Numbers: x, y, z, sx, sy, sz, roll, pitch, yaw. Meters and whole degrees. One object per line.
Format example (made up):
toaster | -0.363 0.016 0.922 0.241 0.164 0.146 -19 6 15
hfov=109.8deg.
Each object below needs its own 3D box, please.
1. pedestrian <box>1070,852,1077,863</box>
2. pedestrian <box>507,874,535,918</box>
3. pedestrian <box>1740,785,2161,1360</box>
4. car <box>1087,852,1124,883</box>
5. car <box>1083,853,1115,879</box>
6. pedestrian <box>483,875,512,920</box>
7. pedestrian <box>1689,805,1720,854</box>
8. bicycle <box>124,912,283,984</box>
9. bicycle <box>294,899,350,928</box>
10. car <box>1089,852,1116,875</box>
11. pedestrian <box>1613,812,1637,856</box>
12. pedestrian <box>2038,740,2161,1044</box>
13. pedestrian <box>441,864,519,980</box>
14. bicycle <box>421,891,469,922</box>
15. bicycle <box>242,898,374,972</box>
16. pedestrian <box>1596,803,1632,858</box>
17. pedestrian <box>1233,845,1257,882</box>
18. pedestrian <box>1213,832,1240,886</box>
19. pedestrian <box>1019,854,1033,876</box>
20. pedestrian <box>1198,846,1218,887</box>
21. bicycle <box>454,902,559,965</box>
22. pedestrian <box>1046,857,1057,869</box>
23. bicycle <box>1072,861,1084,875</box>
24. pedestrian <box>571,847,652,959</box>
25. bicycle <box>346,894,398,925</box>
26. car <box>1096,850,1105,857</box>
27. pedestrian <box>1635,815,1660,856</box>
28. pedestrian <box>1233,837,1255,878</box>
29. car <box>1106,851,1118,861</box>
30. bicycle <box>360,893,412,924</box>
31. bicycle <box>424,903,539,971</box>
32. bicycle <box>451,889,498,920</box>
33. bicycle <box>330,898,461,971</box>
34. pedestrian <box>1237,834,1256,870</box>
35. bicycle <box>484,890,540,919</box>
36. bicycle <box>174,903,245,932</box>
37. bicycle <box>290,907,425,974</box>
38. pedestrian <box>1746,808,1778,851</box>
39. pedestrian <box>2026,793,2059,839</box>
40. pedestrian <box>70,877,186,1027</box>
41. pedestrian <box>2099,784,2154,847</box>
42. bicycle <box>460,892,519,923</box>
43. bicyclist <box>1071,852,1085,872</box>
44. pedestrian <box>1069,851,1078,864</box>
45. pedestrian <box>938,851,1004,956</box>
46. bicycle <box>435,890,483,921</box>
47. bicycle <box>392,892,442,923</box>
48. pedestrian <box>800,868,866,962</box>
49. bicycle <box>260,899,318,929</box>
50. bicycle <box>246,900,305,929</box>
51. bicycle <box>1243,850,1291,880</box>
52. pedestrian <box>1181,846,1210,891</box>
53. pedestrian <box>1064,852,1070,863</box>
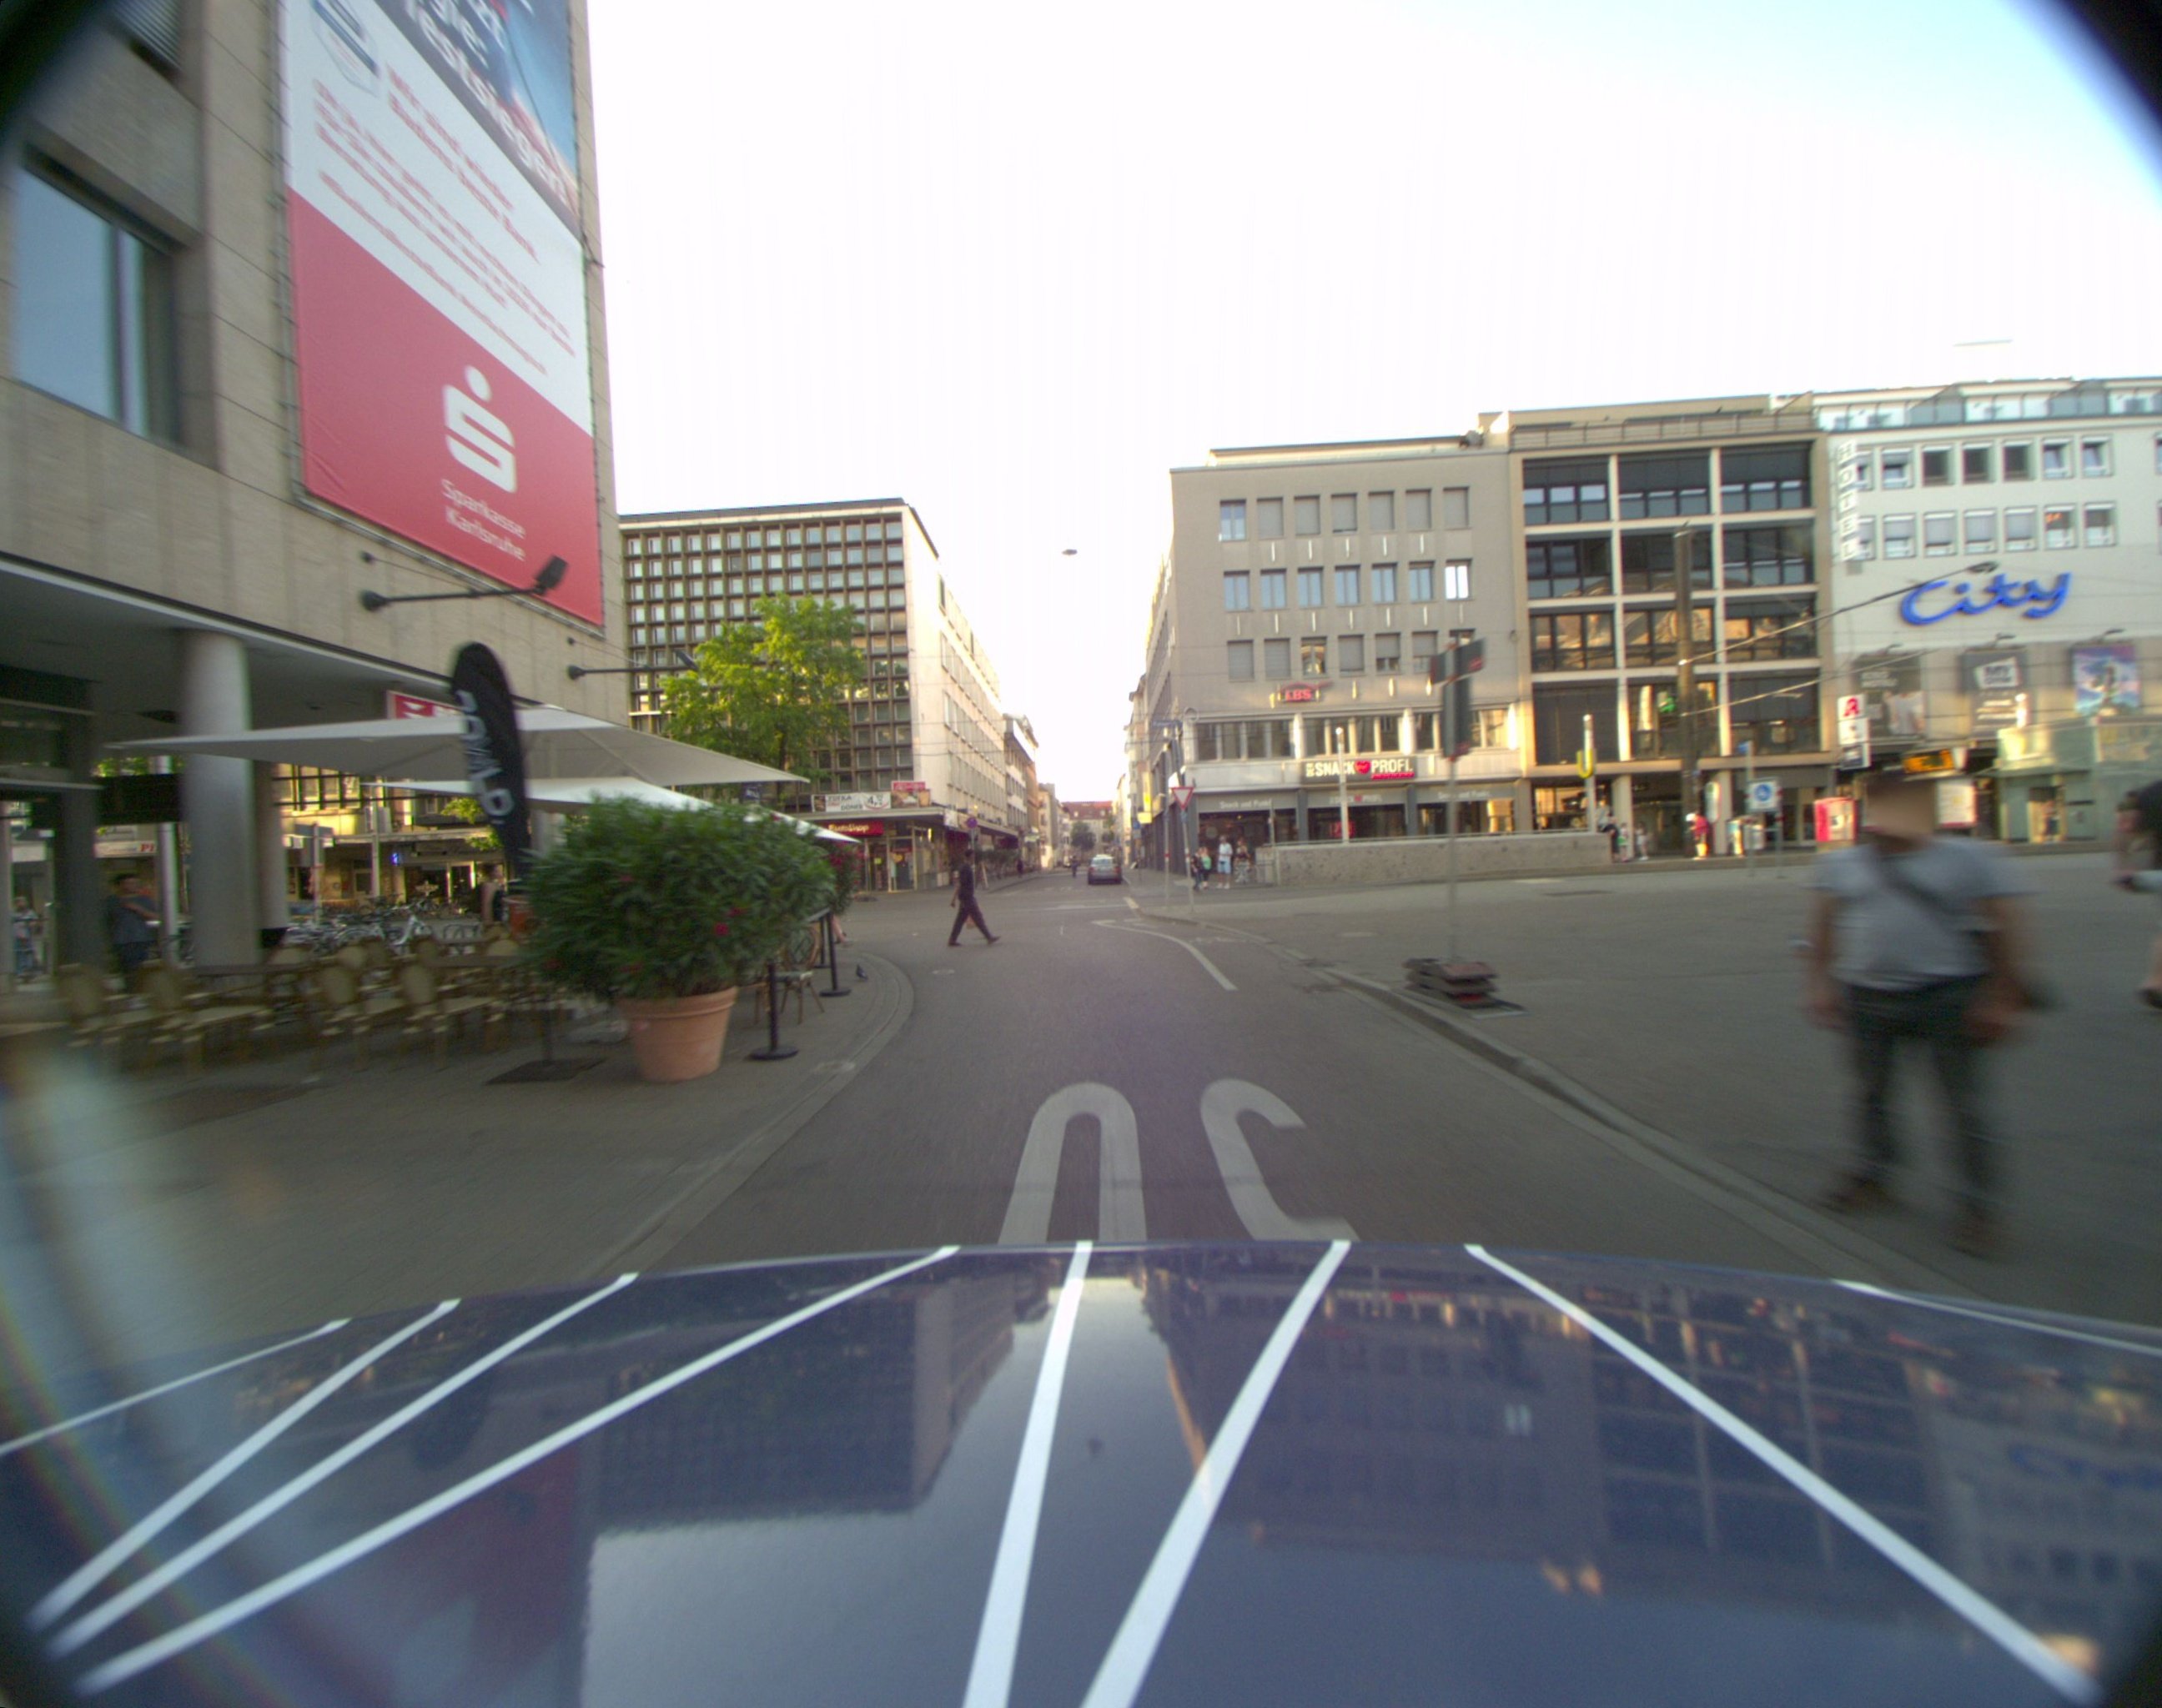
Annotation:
pedestrian | -1.197 0.568 120.167 0.977 1.652 0.978 -3 1 2
pedestrian | -21.998 1.652 29.836 0.534 1.689 0.604 -3 2 31
pedestrian | 3.005 0.616 2.605 0.872 1.637 0.732 -3 2 -11
car | 1.279 0.685 41.386 1.799 1.501 4.132 -2 0 -1
car | 1.060 0.713 47.366 1.799 1.501 4.132 -2 0 -1
pedestrian | -22.562 1.684 29.380 0.534 1.689 0.604 -3 2 31
pedestrian | 22.390 -0.871 27.287 0.784 1.688 0.717 -2 1 44
bicycle | -16.543 1.741 14.413 0.725 1.148 2.002 -3 -2 -3
bicycle | -30.807 2.392 30.887 0.489 0.984 1.776 -4 2 -4
car | 1.535 0.620 53.605 1.798 1.501 4.000 -2 0 3
pedestrian | 21.729 -0.781 30.367 0.606 1.715 0.626 -3 1 -42
pedestrian | 6.913 0.204 4.735 0.873 1.829 0.806 -3 2 1
pedestrian | -9.315 1.025 11.792 0.617 1.721 0.638 -3 0 1
bicycle | -26.172 2.133 31.299 0.489 1.065 1.776 -4 2 -4
bicycle | -15.569 1.597 15.387 0.725 1.324 1.921 -3 -2 -3
pedestrian | 19.135 -0.835 27.288 0.709 1.914 0.716 -2 0 -3
pedestrian | 6.484 0.368 30.008 0.683 1.425 0.556 -2 1 40
pedestrian | 5.358 0.176 27.980 0.709 1.915 0.775 -2 0 -6
pedestrian | -4.386 0.862 60.847 0.870 1.652 0.931 -3 1 4
pedestrian | 4.664 0.459 27.949 0.555 1.485 0.605 -2 0 -6
bicycle | -11.564 1.569 15.376 0.666 1.102 1.859 -3 -1 -1
pedestrian | -4.061 1.230 105.116 1.299 1.652 1.014 -3 1 4
bicycle | -0.223 1.091 58.388 0.817 1.066 2.114 -1 -2 1
pedestrian | -7.773 0.795 12.607 0.773 1.762 0.775 -3 0 1
bicycle | -29.205 2.271 31.337 0.489 1.065 1.776 -4 2 -4
car | 4.395 -0.076 172.232 1.798 1.501 4.000 -2 0 3
pedestrian | 22.183 -0.731 29.745 0.606 1.579 0.626 -2 1 -41
pedestrian | 6.903 0.155 32.206 0.709 1.715 0.716 -2 0 0
car | 4.943 0.249 121.339 1.798 1.501 4.000 -2 0 3
bicycle | -28.628 2.244 31.343 0.489 1.065 1.776 -4 2 -4
bicycle | -11.315 1.536 14.426 0.666 1.102 1.859 -3 -1 -1
bicycle | -24.975 2.078 31.315 0.489 1.065 1.776 -4 2 -4
bicycle | -12.871 1.470 14.360 0.763 1.215 1.921 -3 -2 -3
pedestrian | 8.068 -0.118 37.093 0.709 1.715 0.716 -2 0 0
bicycle | -22.755 2.018 30.378 1.776 1.039 0.489 -4 1 -1
bicycle | -35.534 2.562 31.004 0.488 0.960 1.779 -1 3 18
bicycle | -13.611 1.589 14.382 0.763 1.071 1.921 -3 -2 -3
pedestrian | 25.249 -0.902 28.194 0.604 1.579 0.628 -2 0 9
pedestrian | 34.319 -1.350 27.131 0.505 1.608 0.512 -2 0 -7
pedestrian | -11.552 1.163 9.232 0.617 1.721 0.572 -3 0 1
pedestrian | 29.430 -1.080 21.394 0.710 1.715 0.719 -2 0 -19
bicycle | -22.615 2.030 29.063 1.776 1.039 0.489 -4 1 -1
bicyclist | -0.235 0.593 58.413 0.999 1.493 0.857 -1 -2 1
pedestrian | -0.905 0.429 94.049 0.870 1.652 0.931 -3 1 4
pedestrian | -1.868 0.815 13.005 0.997 1.688 0.772 -3 1 -7
bicycle | -25.626 2.107 31.341 0.489 1.065 1.776 -4 2 -4
bicycle | -27.388 2.187 31.363 0.489 1.065 1.776 -4 2 -4
pedestrian | -4.233 1.019 13.019 0.810 1.527 0.805 -3 0 -2
bicycle | -32.218 2.418 30.927 0.489 0.984 1.776 -4 2 -4
bicycle | -32.746 2.442 30.932 0.489 0.984 1.776 -4 2 -4
bicycle | 7.734 0.456 31.611 1.798 1.101 0.500 -4 0 7
pedestrian | 3.963 0.491 26.318 0.606 1.533 0.684 -2 1 -40
pedestrian | -2.172 0.611 120.258 0.870 1.652 0.931 -3 1 2
